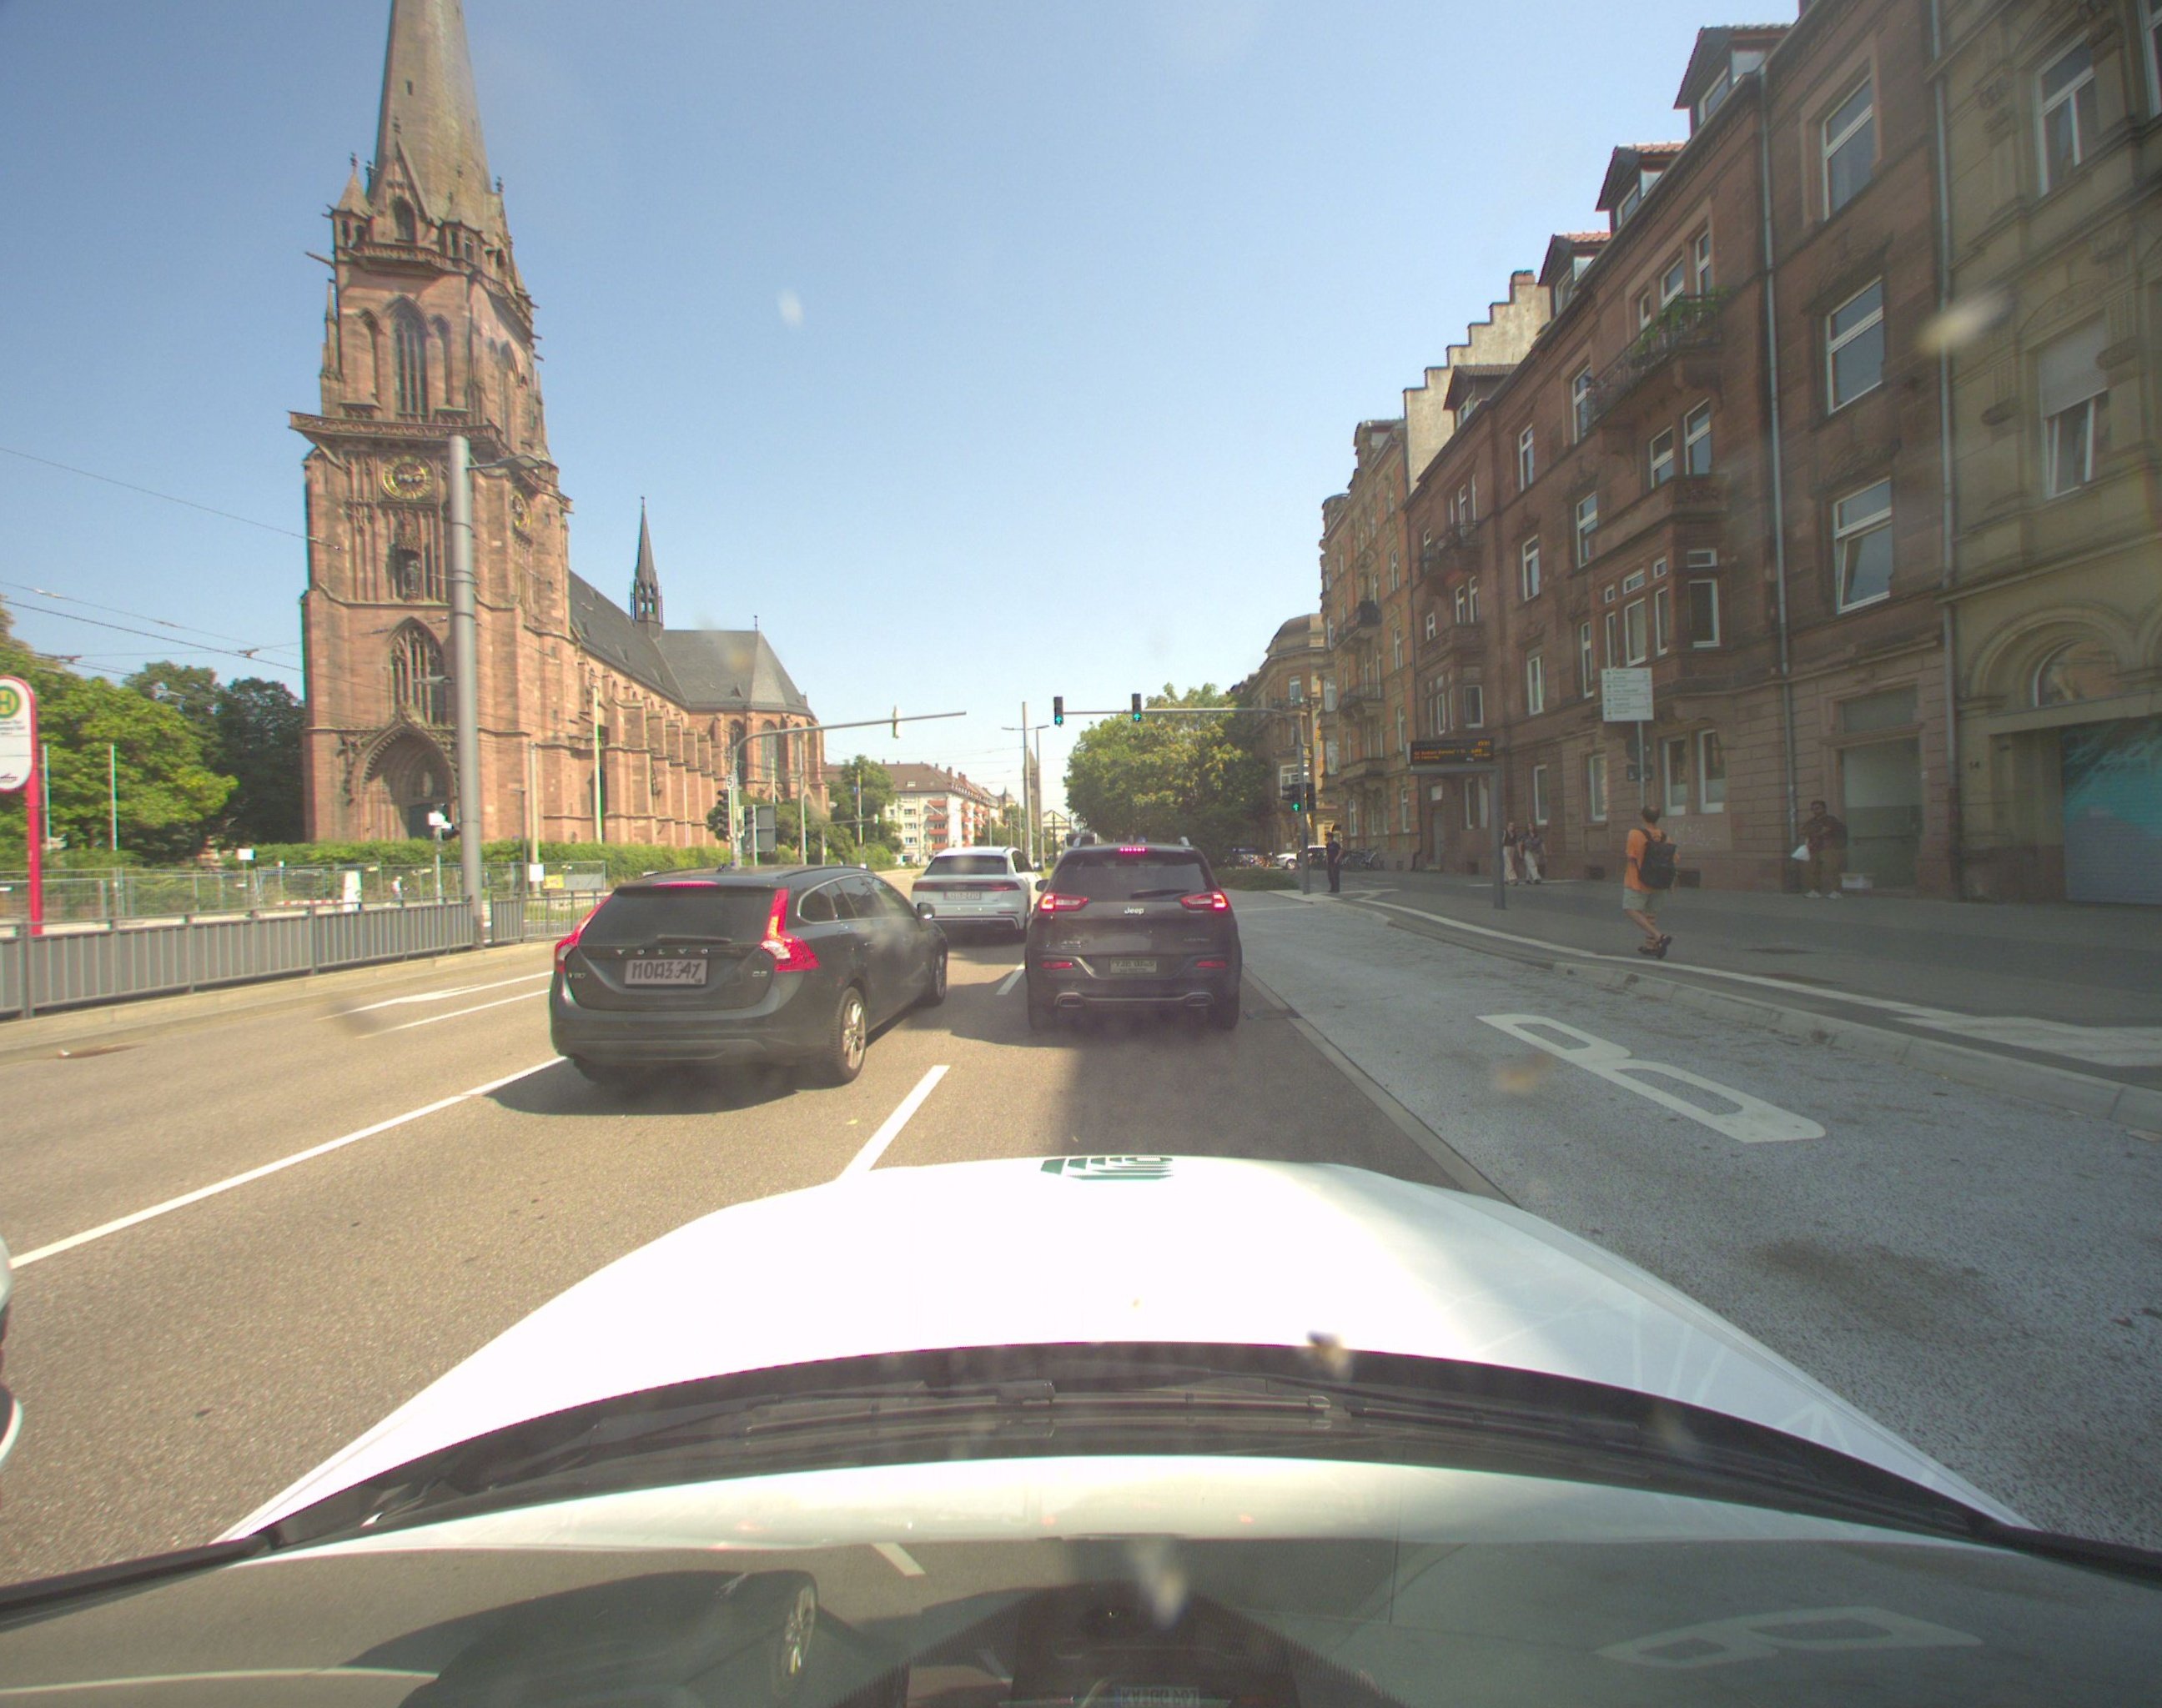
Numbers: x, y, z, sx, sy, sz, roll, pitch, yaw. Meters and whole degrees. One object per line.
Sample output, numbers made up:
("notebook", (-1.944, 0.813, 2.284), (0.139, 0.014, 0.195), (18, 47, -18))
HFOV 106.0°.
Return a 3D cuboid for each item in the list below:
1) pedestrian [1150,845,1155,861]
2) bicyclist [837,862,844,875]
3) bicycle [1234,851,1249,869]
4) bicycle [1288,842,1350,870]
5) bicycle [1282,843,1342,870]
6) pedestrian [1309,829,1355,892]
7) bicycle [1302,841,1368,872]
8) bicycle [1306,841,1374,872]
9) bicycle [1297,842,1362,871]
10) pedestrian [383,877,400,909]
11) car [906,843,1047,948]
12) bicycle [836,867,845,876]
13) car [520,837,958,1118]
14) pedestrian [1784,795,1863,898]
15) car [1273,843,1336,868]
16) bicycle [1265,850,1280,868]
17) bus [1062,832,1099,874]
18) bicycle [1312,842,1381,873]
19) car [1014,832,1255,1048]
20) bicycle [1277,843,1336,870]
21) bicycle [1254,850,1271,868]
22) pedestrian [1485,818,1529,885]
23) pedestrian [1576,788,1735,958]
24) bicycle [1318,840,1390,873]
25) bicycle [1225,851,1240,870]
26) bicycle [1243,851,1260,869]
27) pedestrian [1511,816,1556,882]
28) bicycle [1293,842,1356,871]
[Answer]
("pedestrian", (9.346, -0.137, 106.922), (0.526, 2.013, 0.532), (-2, 0, 0))
("bicyclist", (-24.666, 1.443, 83.508), (0.446, 1.321, 0.425), (-2, 0, 3))
("bicycle", (11.498, 0.422, 58.345), (0.646, 1.253, 3.017), (-2, 0, 4))
("bicycle", (12.728, 0.113, 43.673), (2.993, 1.373, 0.948), (-2, 0, 1))
("bicycle", (12.735, 0.146, 44.991), (2.993, 1.373, 0.948), (-2, 0, 1))
("pedestrian", (7.168, 0.189, 23.282), (0.771, 1.741, 0.892), (-3, -1, -31))
("bicycle", (12.656, 0.132, 40.623), (2.983, 1.371, 0.871), (-2, 0, 1))
("bicycle", (12.600, 0.117, 39.677), (2.983, 1.371, 0.871), (-2, 0, 1))
("bicycle", (12.686, 0.124, 41.567), (2.993, 1.373, 0.948), (-2, 0, 1))
("pedestrian", (-34.539, 1.956, 40.827), (0.546, 1.531, 0.431), (-2, 0, -32))
("car", (-1.765, 0.655, 15.190), (1.895, 1.651, 4.310), (-1, 0, 2))
("bicycle", (-24.649, 1.816, 83.513), (0.452, 0.859, 1.477), (-2, 0, 3))
("car", (-2.320, 0.714, 6.890), (1.741, 1.614, 4.310), (-1, 0, 2))
("pedestrian", (13.277, -0.139, 14.568), (0.872, 1.778, 0.737), (-2, 0, -26))
("car", (15.688, 0.105, 57.276), (3.926, 1.521, 1.679), (-2, 0, -6))
("bicycle", (13.795, 0.329, 58.738), (0.655, 1.249, 2.415), (-2, 0, 4))
("bus", (-0.043, -0.052, 66.671), (2.734, 3.107, 11.953), (0, 0, 0))
("bicycle", (12.612, 0.165, 38.763), (2.983, 1.371, 0.871), (-2, 0, 1))
("car", (0.523, 0.659, 8.421), (1.825, 1.651, 4.312), (-1, 0, 3))
("bicycle", (12.728, 0.130, 46.033), (2.993, 1.373, 0.948), (-2, 0, 1))
("bicycle", (12.981, 0.363, 58.323), (0.759, 1.253, 3.017), (-2, 0, 4))
("pedestrian", (11.804, -0.069, 22.591), (0.711, 1.776, 0.848), (-2, 0, 1))
("pedestrian", (6.345, 0.223, 9.096), (0.958, 1.741, 1.242), (-2, -2, 10))
("bicycle", (12.673, 0.117, 37.855), (2.983, 1.371, 0.871), (-2, 0, 1))
("bicycle", (10.841, 0.451, 58.385), (0.646, 1.253, 3.017), (-2, 0, 4))
("bicycle", (12.194, 0.395, 58.327), (0.729, 1.253, 3.017), (-2, 0, 4))
("pedestrian", (12.537, -0.130, 22.601), (0.712, 1.778, 0.870), (-2, 0, 0))
("bicycle", (12.735, 0.141, 42.662), (2.993, 1.373, 0.948), (-2, 0, 1))
